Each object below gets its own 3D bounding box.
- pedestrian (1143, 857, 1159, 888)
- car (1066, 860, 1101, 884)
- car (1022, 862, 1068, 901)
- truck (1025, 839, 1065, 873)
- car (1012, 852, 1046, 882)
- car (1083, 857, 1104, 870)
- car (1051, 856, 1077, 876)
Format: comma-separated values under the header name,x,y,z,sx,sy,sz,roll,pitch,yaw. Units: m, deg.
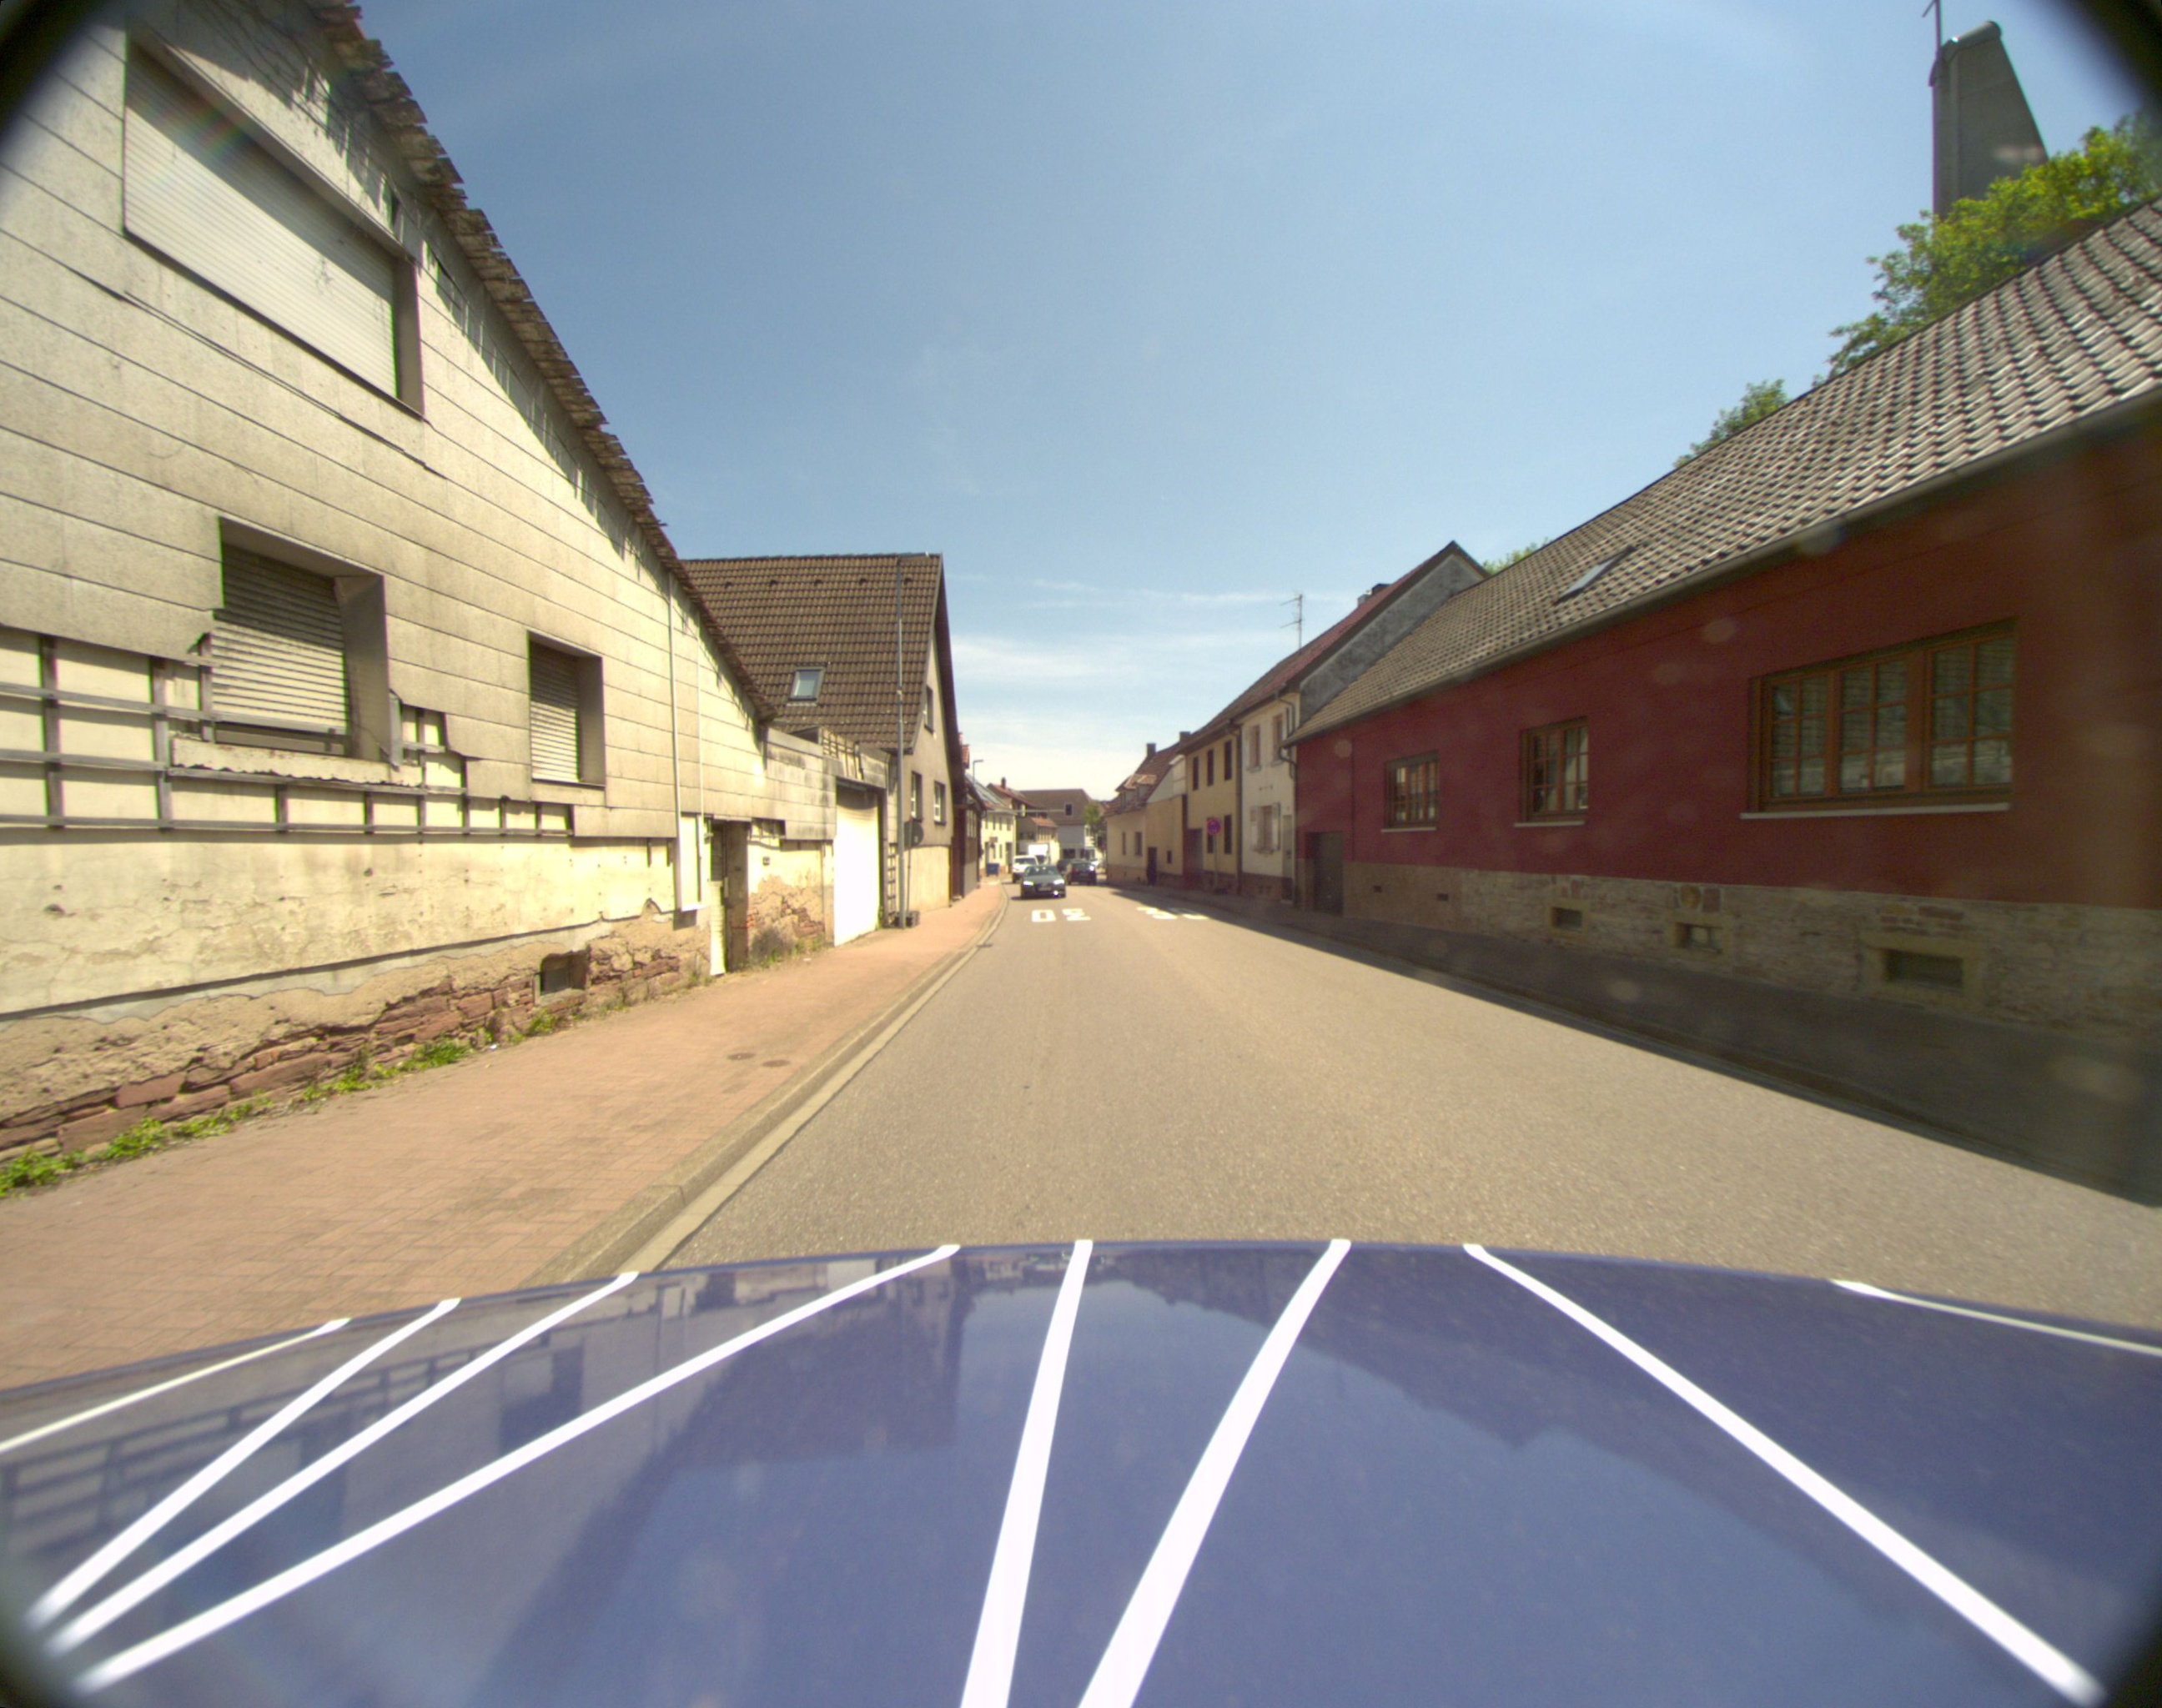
name,x,y,z,sx,sy,sz,roll,pitch,yaw
pedestrian,3.666,0.951,39.903,0.663,1.555,0.754,-2,1,-5
car,0.099,1.066,46.712,1.700,1.401,4.197,0,0,-6
car,-1.547,1.097,31.694,1.787,1.364,3.605,-1,1,-4
truck,-3.848,0.157,83.227,2.865,3.492,8.323,1,1,8
car,-3.808,0.888,54.560,2.080,1.949,5.514,-1,1,-7
car,1.851,1.392,110.646,1.996,1.608,4.004,-2,1,17
car,-1.440,0.945,63.247,1.817,1.599,4.334,1,0,-6
